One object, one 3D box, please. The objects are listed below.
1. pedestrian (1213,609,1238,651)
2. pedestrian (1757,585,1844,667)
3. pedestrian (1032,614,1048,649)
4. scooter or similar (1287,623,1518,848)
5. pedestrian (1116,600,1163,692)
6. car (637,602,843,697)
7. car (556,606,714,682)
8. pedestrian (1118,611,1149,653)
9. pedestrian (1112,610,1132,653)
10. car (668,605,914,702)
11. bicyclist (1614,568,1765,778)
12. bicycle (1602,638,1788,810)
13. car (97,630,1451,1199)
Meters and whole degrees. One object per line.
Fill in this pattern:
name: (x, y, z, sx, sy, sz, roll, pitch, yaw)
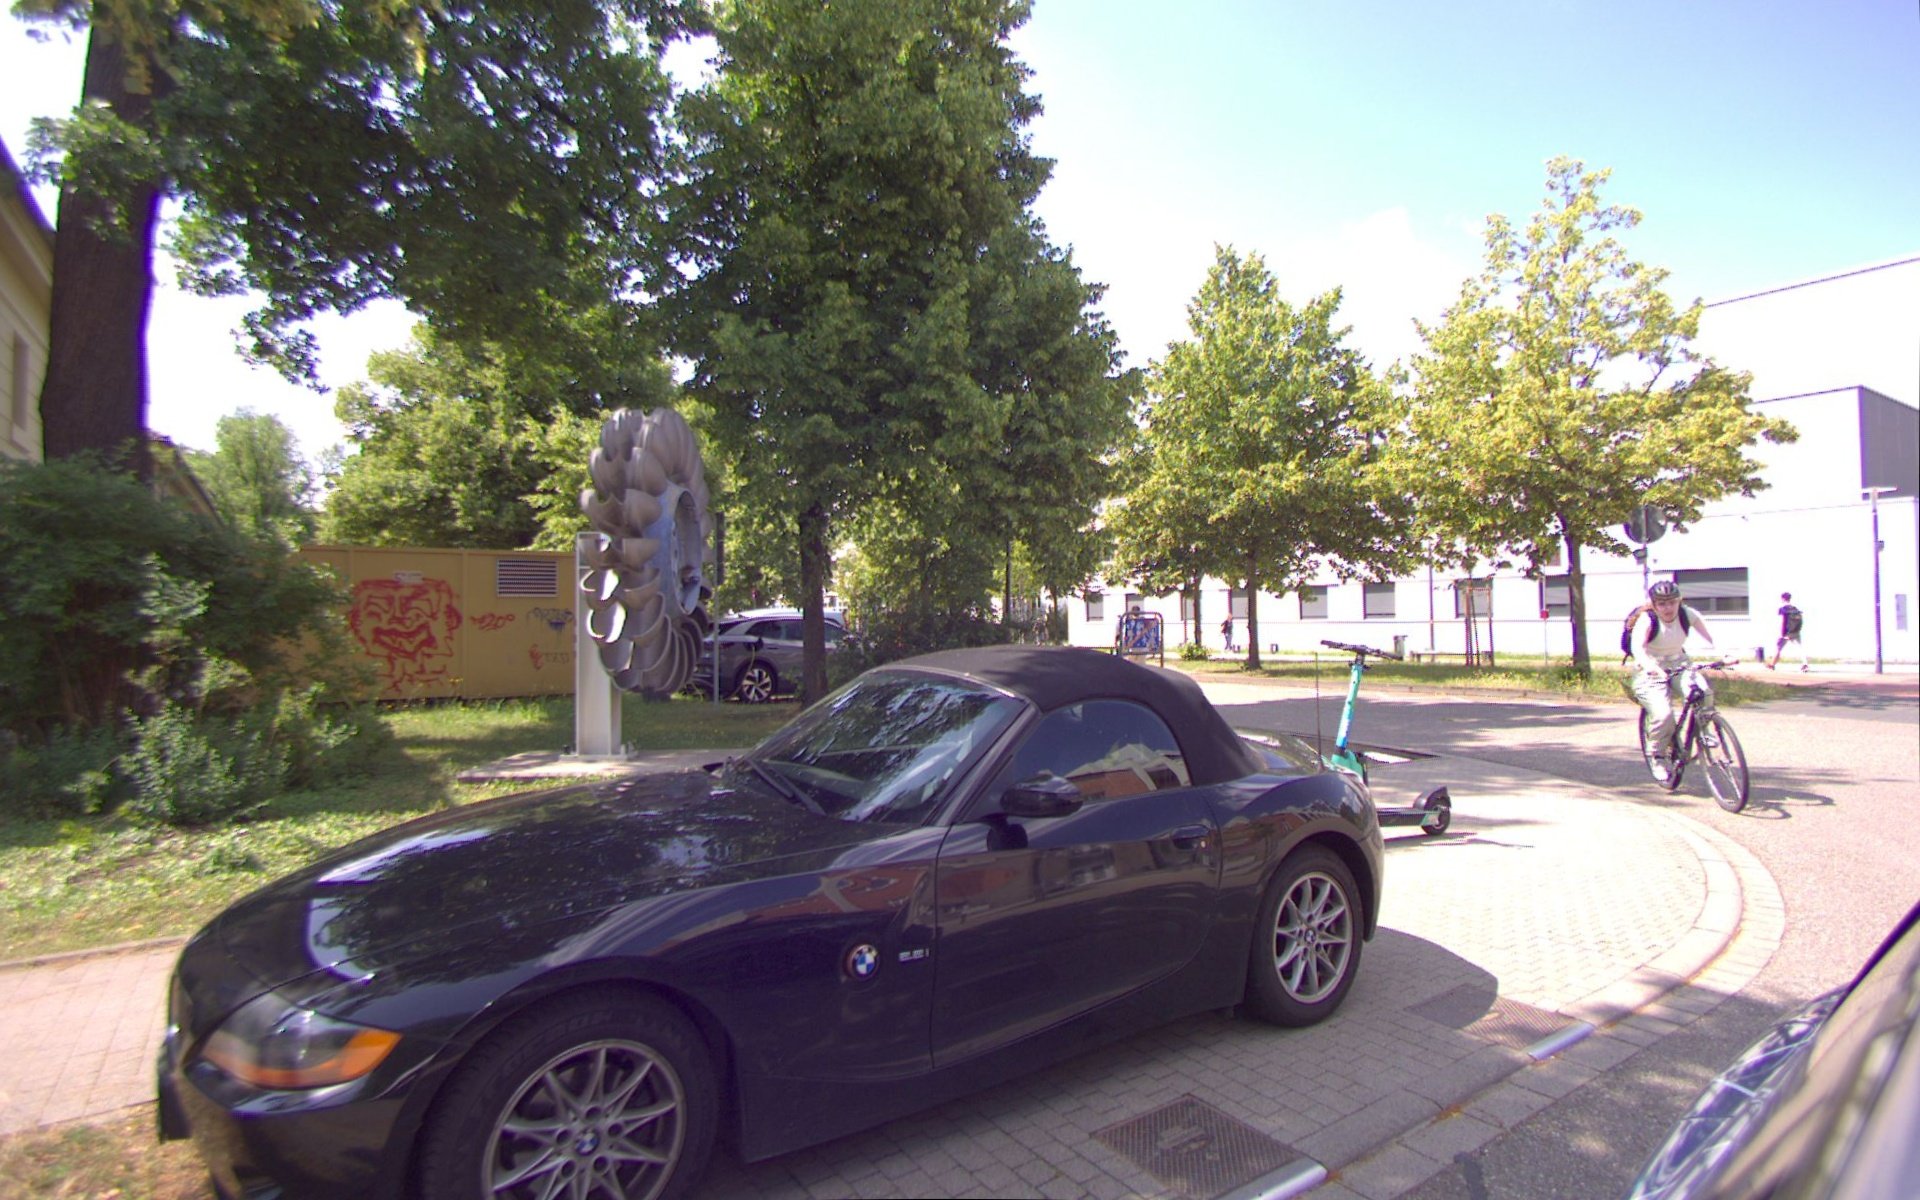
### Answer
pedestrian: (10.937, 1.233, 41.639, 0.617, 1.710, 0.725, 0, -2, -35)
pedestrian: (19.380, 0.591, 23.370, 1.001, 1.823, 1.173, 1, -1, -6)
pedestrian: (3.873, 1.538, 49.204, 0.714, 1.678, 0.714, -1, -2, 6)
scooter or similar: (2.815, 0.799, 6.433, 1.353, 1.270, 0.555, -1, -2, -26)
pedestrian: (3.530, 0.890, 19.905, 0.629, 1.767, 0.583, 0, -2, -32)
car: (-4.696, 1.006, 21.772, 3.925, 1.861, 1.823, 0, -2, -36)
car: (-9.428, 1.220, 29.413, 3.974, 2.040, 2.000, 0, -2, -34)
pedestrian: (7.491, 1.383, 43.708, 0.778, 1.799, 1.095, 0, -2, -29)
pedestrian: (6.847, 1.331, 42.682, 0.701, 1.793, 0.826, -2, -2, 16)
car: (-3.200, 0.986, 19.497, 4.280, 1.673, 1.894, 1, -3, -36)
bicyclist: (5.596, 0.530, 7.831, 0.668, 1.497, 1.054, -3, -1, 24)
bicycle: (5.691, 0.897, 7.980, 0.668, 1.086, 2.119, -4, -1, 23)
car: (-0.259, 0.794, 3.484, 3.922, 1.297, 1.713, 0, -2, -33)
